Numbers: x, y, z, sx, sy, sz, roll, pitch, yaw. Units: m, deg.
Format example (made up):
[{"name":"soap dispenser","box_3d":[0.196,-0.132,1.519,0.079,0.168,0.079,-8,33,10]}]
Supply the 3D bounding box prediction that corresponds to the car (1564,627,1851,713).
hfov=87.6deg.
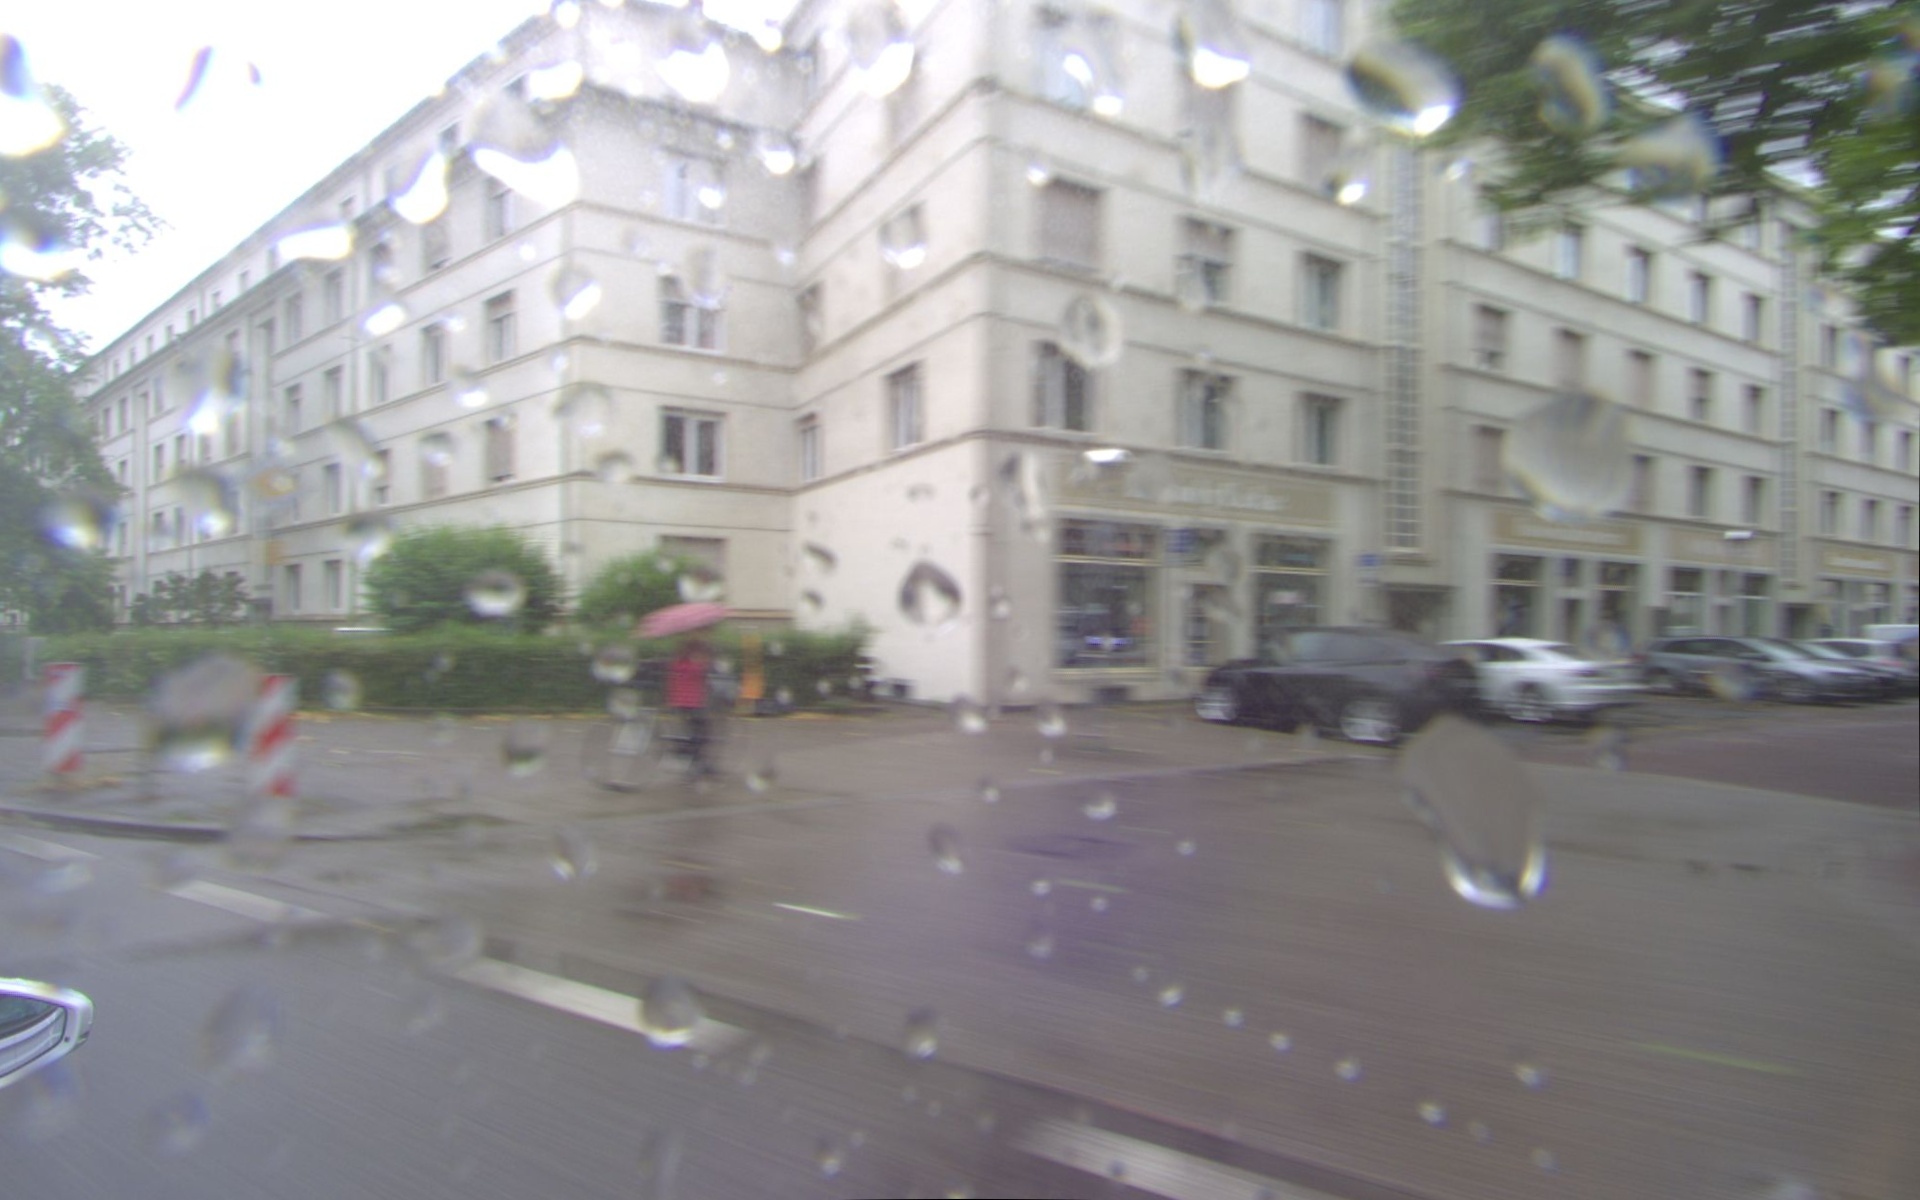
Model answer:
[{"name":"car","box_3d":[16.028,1.463,21.747,1.974,1.648,4.605,4,-4,-31]}]

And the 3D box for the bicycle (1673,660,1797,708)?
[{"name":"bicycle","box_3d":[16.440,1.768,21.296,0.495,0.905,2.050,1,-2,-31]}]

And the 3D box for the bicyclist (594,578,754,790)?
[{"name":"bicyclist","box_3d":[-2.711,0.764,9.573,1.122,1.892,0.940,0,-1,17]}]

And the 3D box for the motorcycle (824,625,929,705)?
[{"name":"motorcycle","box_3d":[-1.667,1.197,19.245,0.865,1.410,2.990,1,-2,-29]}]

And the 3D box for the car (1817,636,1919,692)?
[{"name":"car","box_3d":[29.191,1.957,30.307,1.974,1.648,4.605,4,-4,-31]}]

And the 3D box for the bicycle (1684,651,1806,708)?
[{"name":"bicycle","box_3d":[16.914,1.690,21.626,0.530,1.113,2.015,1,-2,-31]}]

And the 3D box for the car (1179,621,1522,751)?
[{"name":"car","box_3d":[5.701,1.220,15.230,1.974,1.648,4.605,4,-4,-31]}]

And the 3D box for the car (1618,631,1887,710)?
[{"name":"car","box_3d":[18.490,1.600,23.598,1.974,1.648,4.605,4,-4,-31]}]

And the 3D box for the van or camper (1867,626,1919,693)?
[{"name":"van or camper","box_3d":[31.850,1.906,31.467,1.974,2.116,4.605,4,-4,-31]}]

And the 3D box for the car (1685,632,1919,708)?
[{"name":"car","box_3d":[20.566,1.650,24.163,1.974,1.648,4.605,4,-4,-31]}]

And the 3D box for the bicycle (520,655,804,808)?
[{"name":"bicycle","box_3d":[-2.706,1.150,9.755,1.035,1.126,3.213,1,-1,17]}]

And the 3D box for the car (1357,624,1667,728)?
[{"name":"car","box_3d":[9.903,1.337,18.358,1.974,1.648,4.605,4,-4,-31]}]

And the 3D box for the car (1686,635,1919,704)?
[{"name":"car","box_3d":[22.527,1.821,26.816,1.974,1.648,4.605,4,-4,-31]}]
